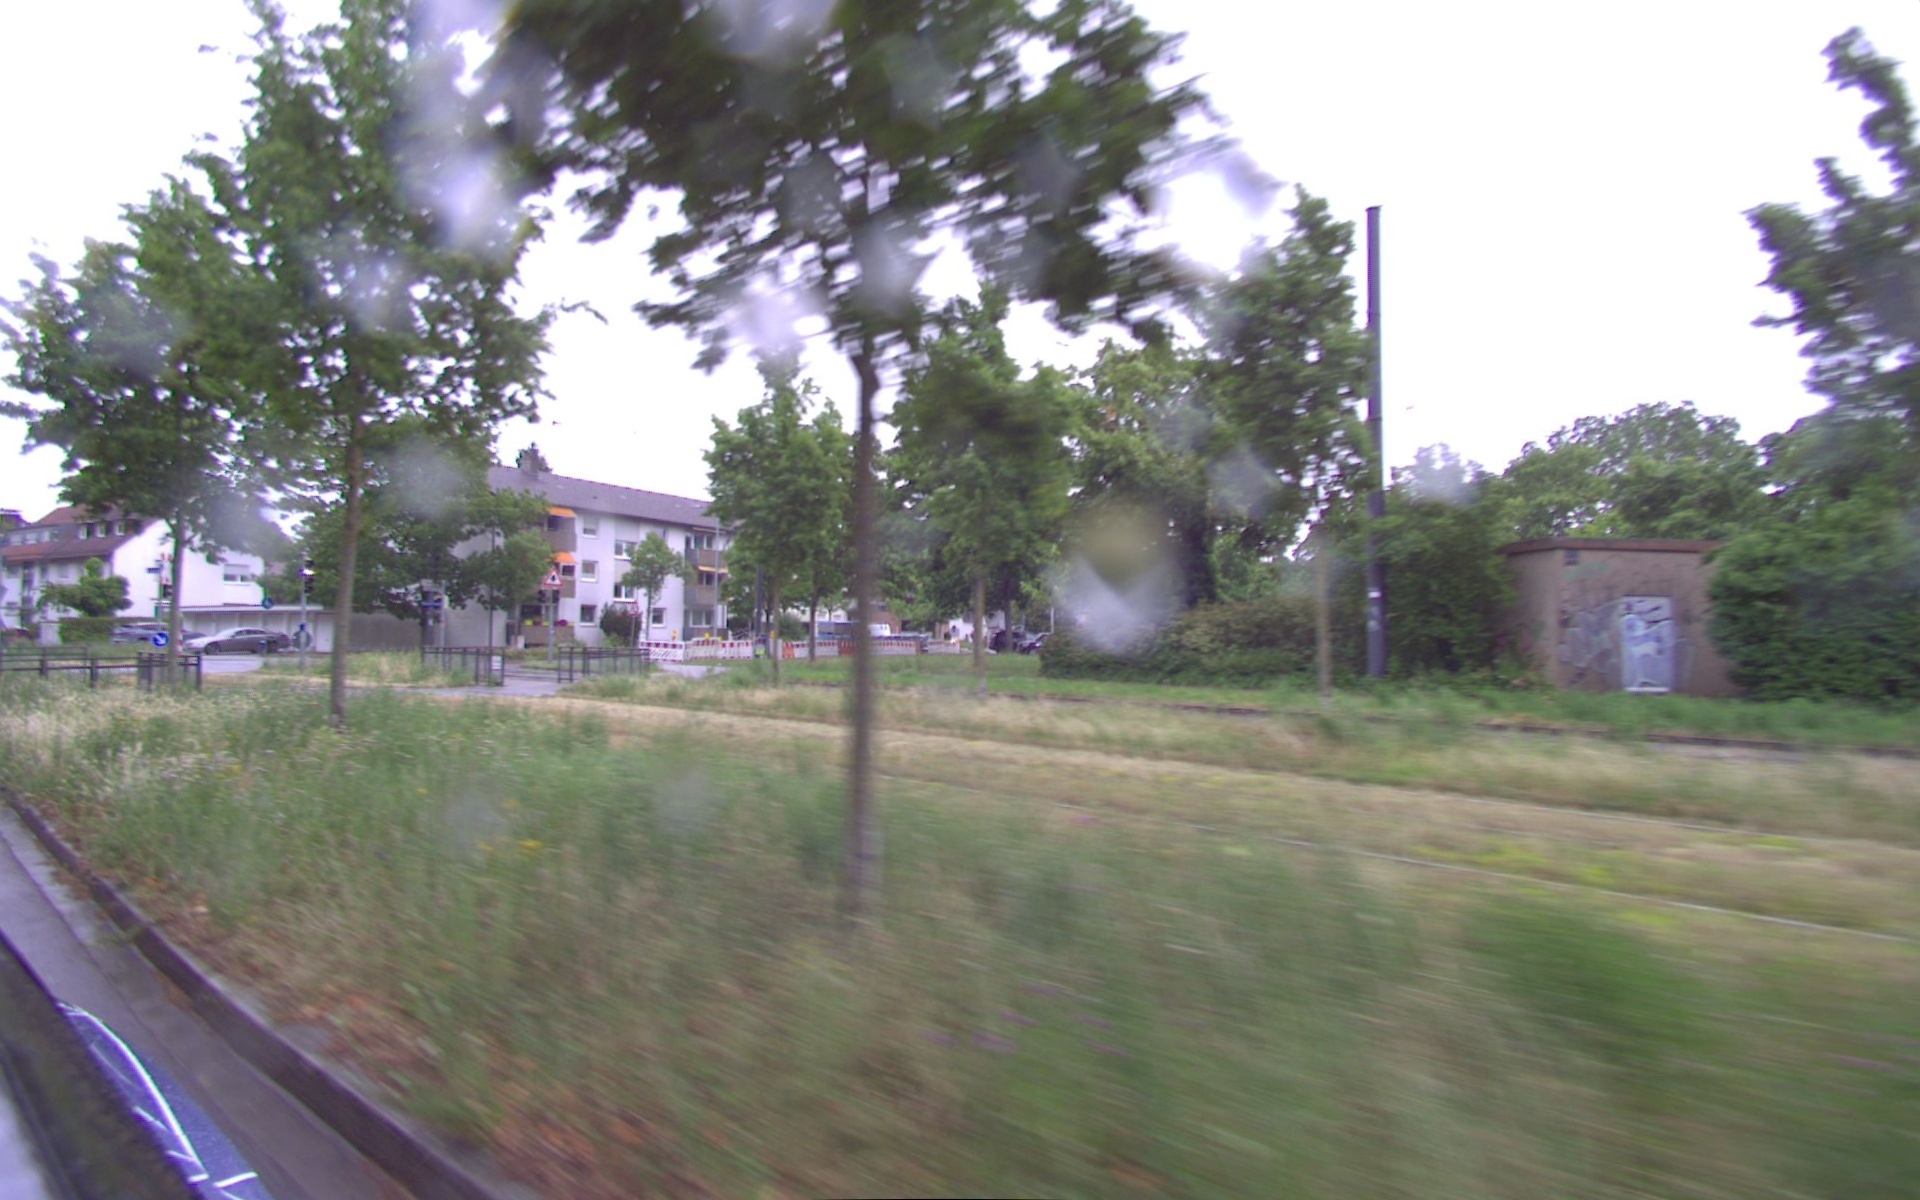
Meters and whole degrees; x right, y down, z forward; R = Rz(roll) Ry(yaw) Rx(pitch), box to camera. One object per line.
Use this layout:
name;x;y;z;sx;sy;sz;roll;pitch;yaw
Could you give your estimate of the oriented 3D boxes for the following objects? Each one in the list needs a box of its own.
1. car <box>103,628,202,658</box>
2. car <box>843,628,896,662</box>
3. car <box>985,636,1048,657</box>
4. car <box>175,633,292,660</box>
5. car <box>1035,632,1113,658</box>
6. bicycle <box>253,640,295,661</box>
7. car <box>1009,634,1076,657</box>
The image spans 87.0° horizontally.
car;-45.709;2.448;57.351;1.883;1.588;3.963;-1;-3;27
car;-6.742;3.412;75.912;1.908;2.465;4.428;-1;-3;28
car;3.605;2.977;64.709;3.681;1.258;1.669;1;-3;-10
car;-38.392;2.423;53.599;1.841;1.376;4.692;-1;-2;30
car;5.913;2.366;52.772;3.681;1.258;1.669;1;-3;-10
bicycle;-33.831;2.491;49.925;1.818;1.027;0.481;-1;0;4
car;4.887;2.720;60.127;3.681;1.258;1.669;1;-3;-10
